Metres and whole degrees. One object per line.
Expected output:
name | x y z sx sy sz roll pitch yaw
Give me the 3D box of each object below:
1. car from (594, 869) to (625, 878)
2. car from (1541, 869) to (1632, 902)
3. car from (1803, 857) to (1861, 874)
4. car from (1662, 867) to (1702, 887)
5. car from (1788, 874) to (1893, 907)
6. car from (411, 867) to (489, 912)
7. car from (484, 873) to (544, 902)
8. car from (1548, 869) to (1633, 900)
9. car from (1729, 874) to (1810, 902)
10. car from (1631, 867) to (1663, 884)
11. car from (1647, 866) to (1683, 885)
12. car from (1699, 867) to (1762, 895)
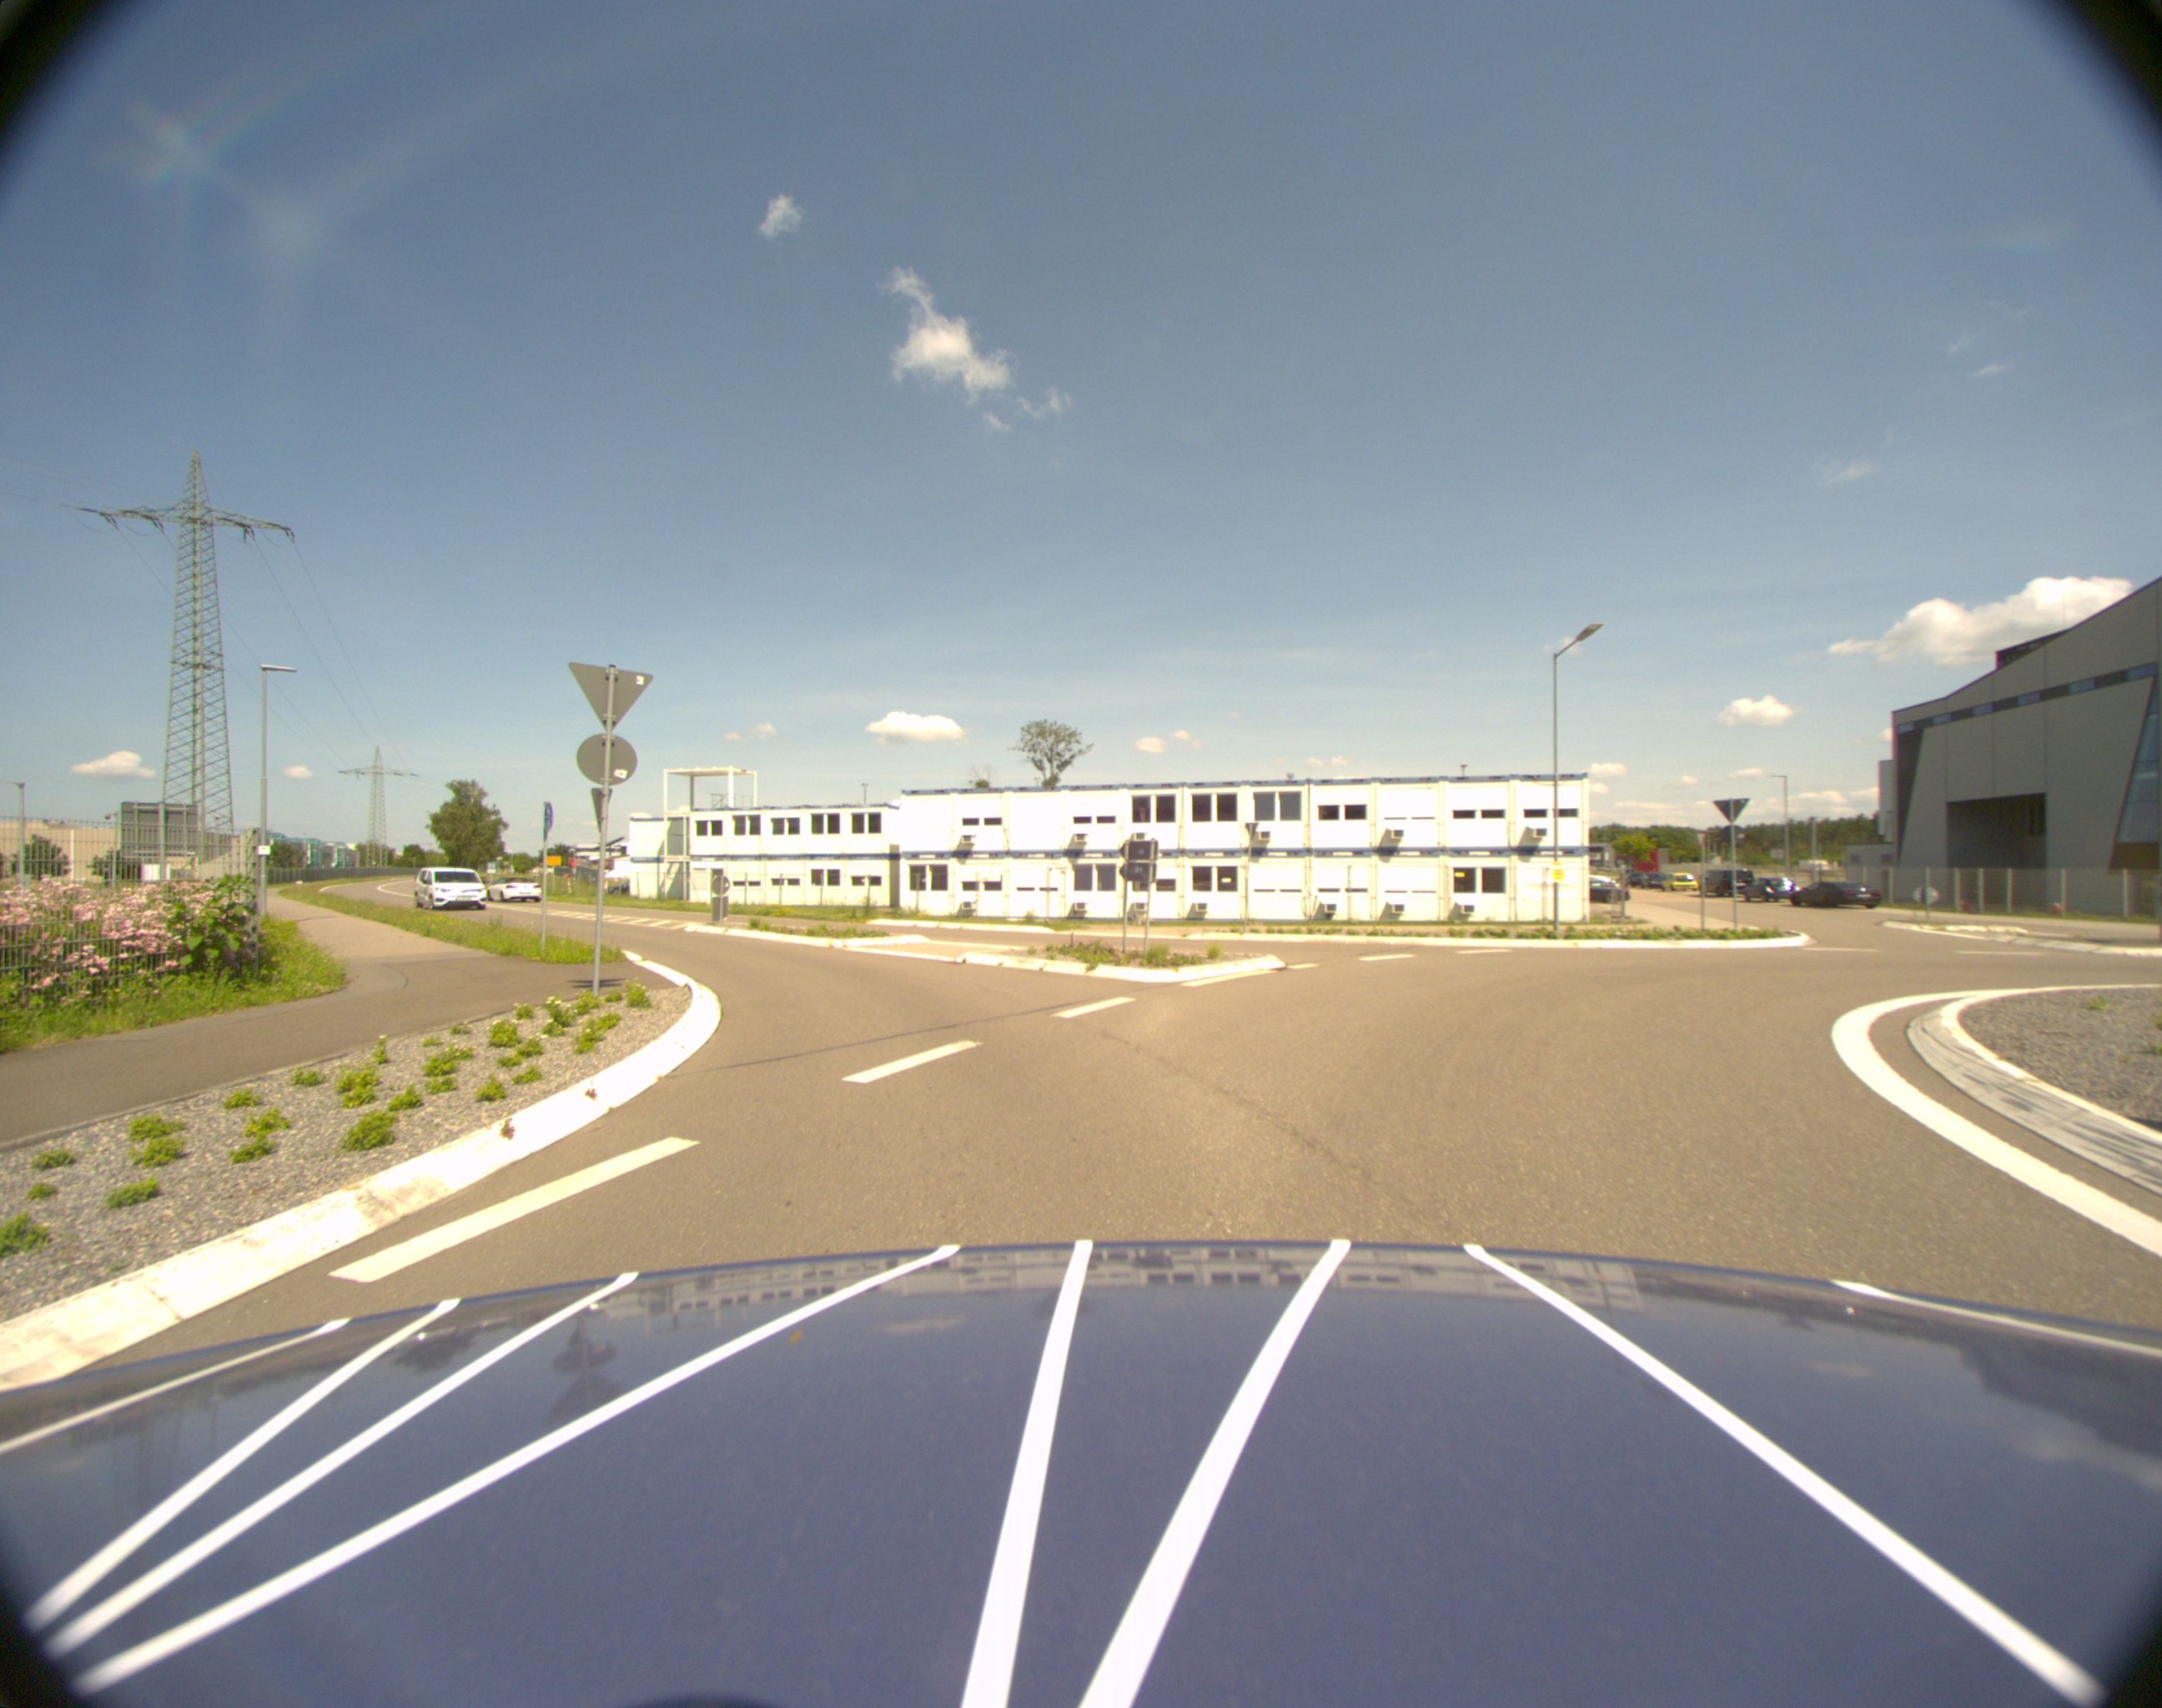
car | -73.483 3.092 118.490 4.008 1.334 1.743 0 -1 -36
car | 30.004 1.827 45.269 4.303 1.855 2.004 -1 0 27
car | 86.335 1.287 87.385 4.305 1.856 2.002 -1 0 15
car | 49.607 1.893 62.775 1.995 1.540 4.322 -1 0 30
car | 40.194 1.883 40.373 1.996 1.540 4.319 -1 0 14
car | -27.275 1.486 32.775 4.816 1.795 1.842 0 -2 41
car | -31.273 1.864 41.884 4.042 1.419 1.780 -5 -4 40
car | 32.343 1.926 48.395 4.303 1.855 2.004 -1 0 27
car | 42.463 2.048 46.996 1.996 1.540 4.319 -1 0 15
car | 53.955 1.997 72.489 1.995 1.540 4.322 -1 0 30
car | 51.693 1.869 67.358 1.995 1.540 4.322 -1 0 30
car | 45.401 1.825 53.232 1.995 1.820 4.321 -1 0 21
